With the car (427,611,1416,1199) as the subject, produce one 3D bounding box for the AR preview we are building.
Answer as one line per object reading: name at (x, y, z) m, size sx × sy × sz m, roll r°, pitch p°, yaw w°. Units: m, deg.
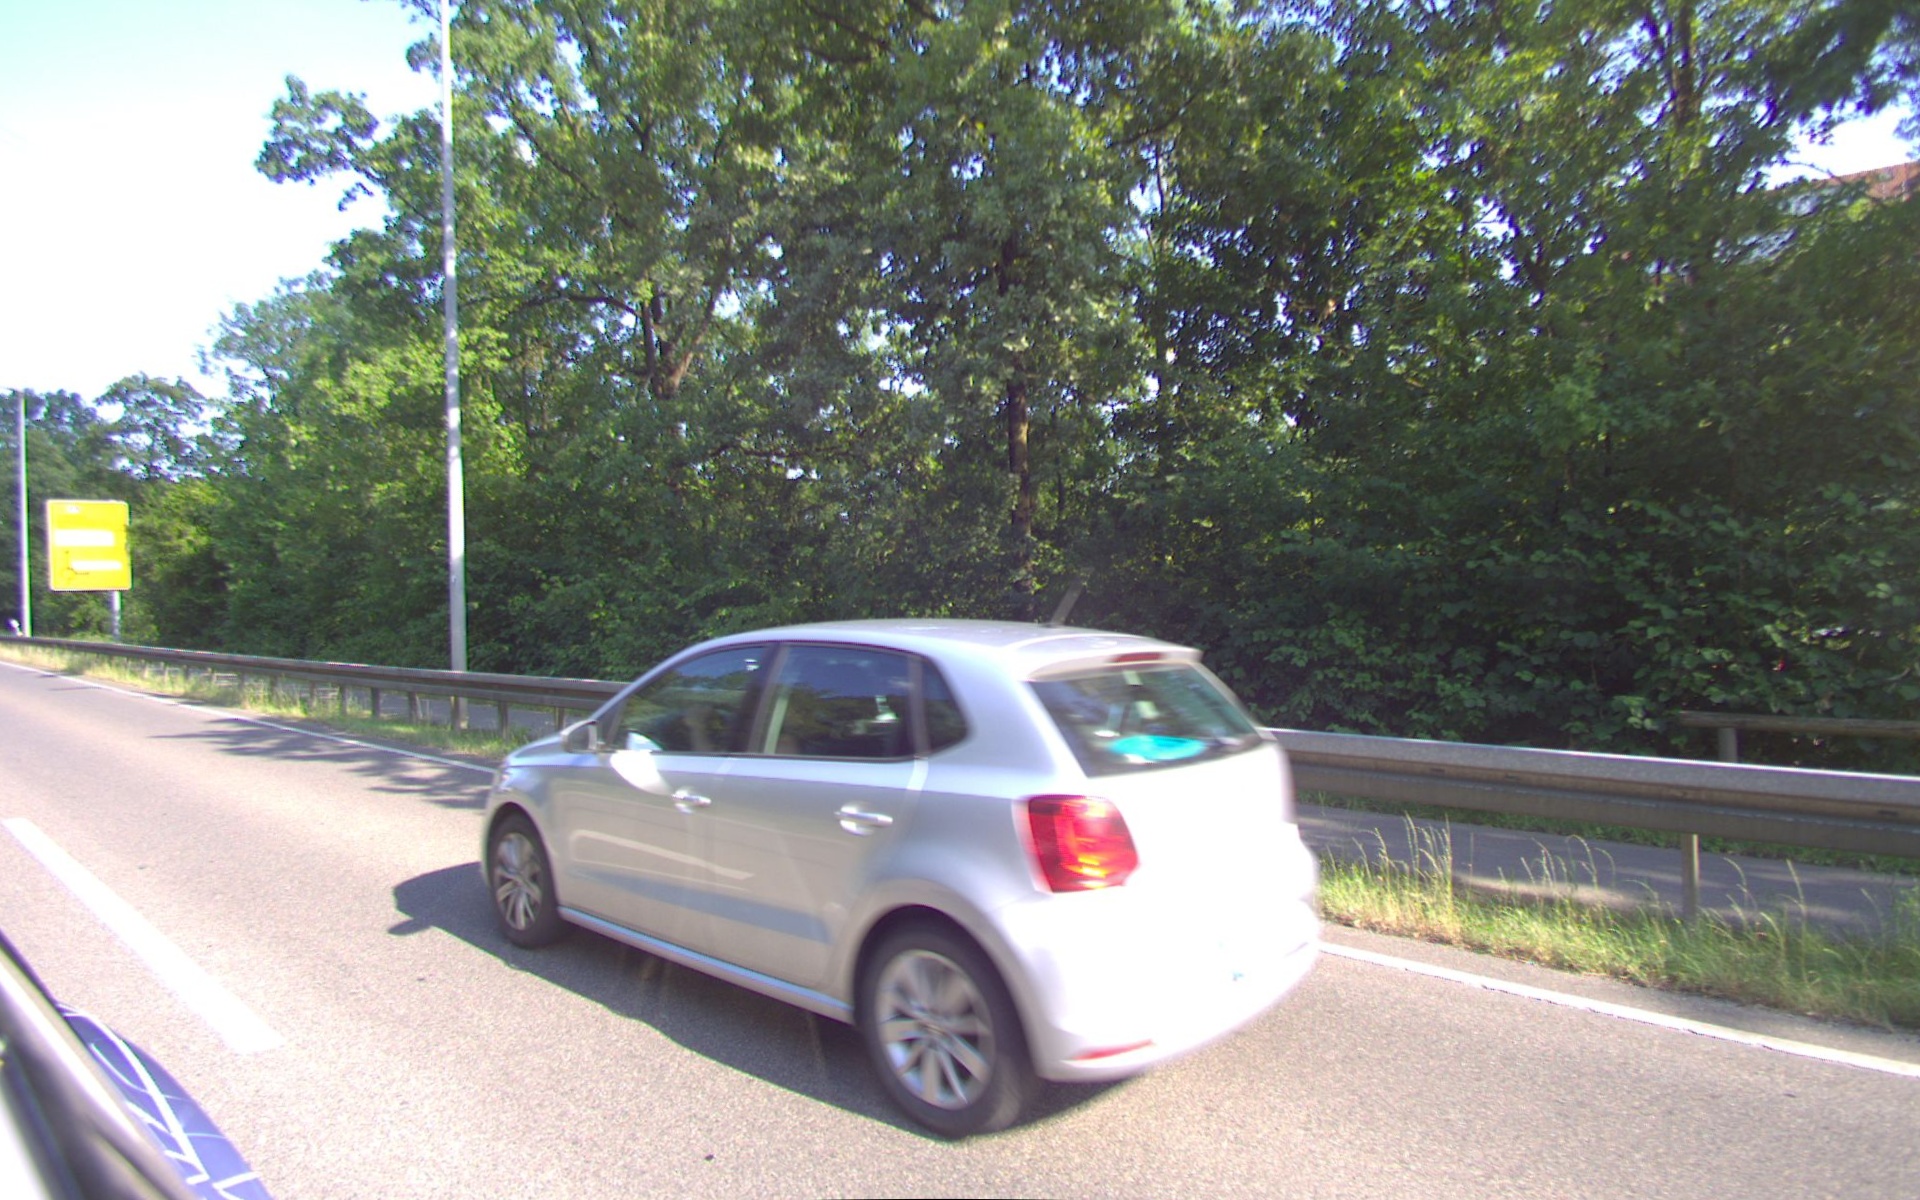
car at (-0.508, 0.762, 4.146) m, size 4.045 × 1.387 × 1.606 m, roll -1°, pitch -1°, yaw 41°
